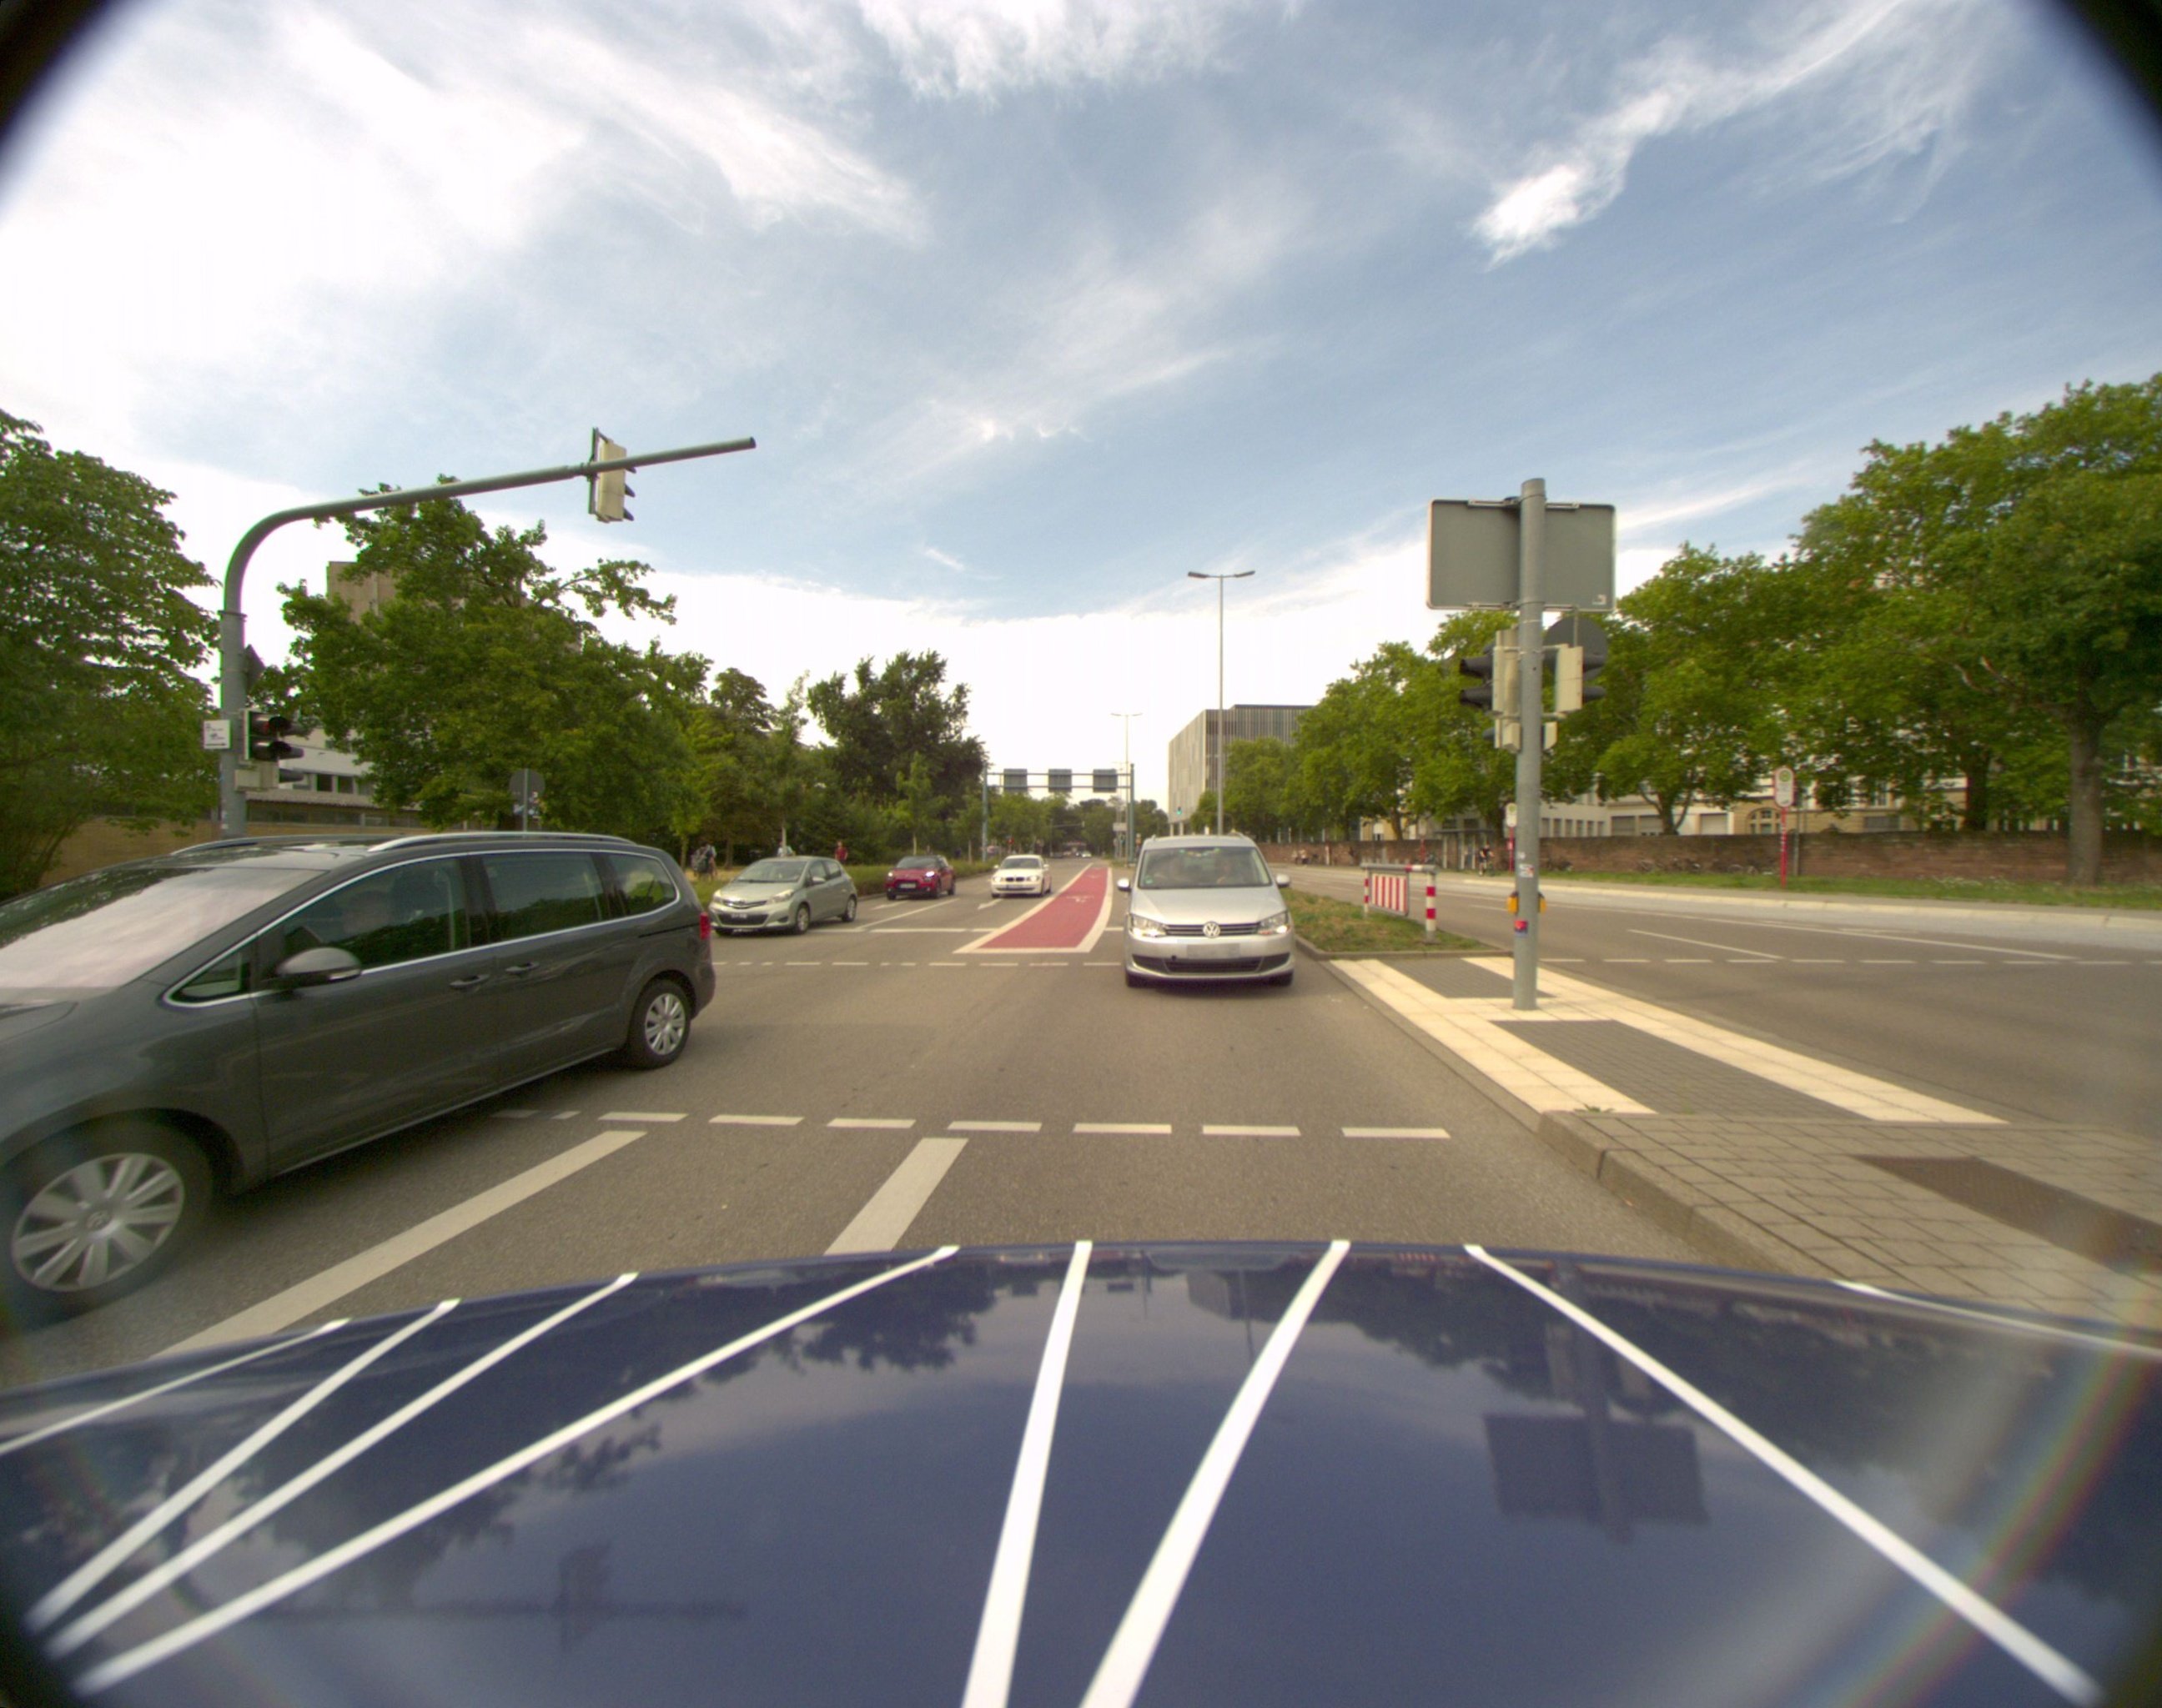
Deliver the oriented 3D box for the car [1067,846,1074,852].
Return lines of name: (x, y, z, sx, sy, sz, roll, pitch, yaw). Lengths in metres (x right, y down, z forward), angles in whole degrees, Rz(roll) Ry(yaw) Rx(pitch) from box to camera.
car: (-3.461, -1.639, 249.835, 1.998, 2.002, 3.999, -2, 1, 0)

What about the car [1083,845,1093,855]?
car: (1.483, -0.777, 161.968, 1.998, 2.002, 3.999, -2, 1, 0)

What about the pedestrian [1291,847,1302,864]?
pedestrian: (20.944, 0.142, 73.816, 0.754, 1.612, 0.665, -2, 2, -4)

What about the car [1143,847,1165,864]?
car: (6.939, 0.121, 72.694, 1.788, 1.481, 4.130, 2, 1, 2)

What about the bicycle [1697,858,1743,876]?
bicycle: (32.875, 0.655, 39.097, 0.359, 0.859, 1.888, 2, 0, -17)

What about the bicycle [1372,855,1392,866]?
bicycle: (24.943, 0.511, 63.065, 0.662, 0.882, 1.574, -4, 1, -18)

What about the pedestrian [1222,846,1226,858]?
pedestrian: (18.148, -0.227, 96.637, 0.402, 1.449, 0.473, -2, 2, -4)

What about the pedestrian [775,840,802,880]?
pedestrian: (-12.766, 0.263, 33.143, 0.842, 1.701, 0.695, -2, 2, -2)

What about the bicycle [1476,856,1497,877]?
bicycle: (20.319, 0.608, 38.094, 0.505, 0.931, 1.973, 0, 3, 16)

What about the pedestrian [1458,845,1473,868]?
pedestrian: (27.343, 0.147, 54.034, 0.569, 1.612, 0.753, -2, 2, -20)

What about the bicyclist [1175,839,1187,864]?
bicyclist: (7.085, -0.158, 53.789, 0.777, 1.701, 1.086, 2, 0, 5)

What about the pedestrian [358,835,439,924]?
pedestrian: (-13.630, 0.483, 15.206, 0.840, 1.701, 0.799, -2, 2, -13)

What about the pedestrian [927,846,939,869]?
pedestrian: (-11.408, 0.258, 58.447, 0.714, 1.701, 0.695, -2, 2, 2)

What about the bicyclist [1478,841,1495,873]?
bicyclist: (20.301, 0.152, 38.041, 0.579, 1.547, 0.798, 0, 3, 16)

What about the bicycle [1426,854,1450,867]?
bicycle: (26.627, 0.469, 56.657, 0.662, 0.882, 1.574, -4, 1, -18)

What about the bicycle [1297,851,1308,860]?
bicycle: (22.398, 0.170, 76.909, 0.433, 0.882, 1.575, -3, 1, -9)

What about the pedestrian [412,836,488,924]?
pedestrian: (-12.741, 0.509, 15.372, 0.840, 1.701, 0.799, -2, 2, -13)

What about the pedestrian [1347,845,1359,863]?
pedestrian: (24.086, -0.009, 67.279, 0.756, 1.612, 0.664, -3, 2, -39)

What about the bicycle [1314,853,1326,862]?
bicycle: (22.974, 0.339, 73.153, 0.433, 0.882, 1.575, -3, 1, -9)

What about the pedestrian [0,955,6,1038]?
pedestrian: (-10.295, 0.845, 6.548, 0.799, 1.701, 0.840, -2, 2, 7)

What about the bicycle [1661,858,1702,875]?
bicycle: (32.305, 0.643, 40.888, 0.359, 0.859, 1.807, 2, 0, -19)

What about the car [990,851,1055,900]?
car: (-1.958, 0.679, 26.533, 1.759, 1.450, 4.223, -2, 1, 2)

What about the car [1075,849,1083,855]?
car: (-0.579, -0.499, 213.971, 1.998, 1.565, 4.001, -2, 1, 6)

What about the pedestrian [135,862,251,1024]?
pedestrian: (-9.762, 0.960, 8.373, 0.480, 1.701, 0.588, -2, 2, 7)

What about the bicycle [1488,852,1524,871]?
bicycle: (28.439, 0.499, 50.906, 0.759, 1.182, 2.095, 2, 0, -20)

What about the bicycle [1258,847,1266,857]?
bicycle: (21.198, -0.263, 89.007, 0.513, 1.202, 1.396, -2, 1, 2)

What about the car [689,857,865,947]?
car: (-5.979, 0.868, 15.489, 1.669, 1.481, 3.876, -2, 1, 5)

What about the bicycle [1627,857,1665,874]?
bicycle: (31.670, 0.633, 42.616, 0.359, 0.859, 1.819, 2, 0, -21)

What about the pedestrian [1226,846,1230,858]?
pedestrian: (18.746, -0.241, 96.822, 0.402, 1.449, 0.473, -2, 2, -4)

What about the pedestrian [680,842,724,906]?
pedestrian: (-10.363, 0.541, 20.785, 0.734, 1.701, 0.693, -2, 2, 5)

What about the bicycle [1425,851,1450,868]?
bicycle: (25.885, 0.412, 55.153, 2.103, 1.182, 0.756, 2, 0, -38)

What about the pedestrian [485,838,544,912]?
pedestrian: (-13.389, 0.482, 17.982, 0.714, 1.701, 0.799, -2, 2, -2)

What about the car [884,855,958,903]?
car: (-5.408, 0.816, 26.080, 1.670, 1.407, 3.457, -2, 1, 2)

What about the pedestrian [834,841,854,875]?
pedestrian: (-12.022, 0.185, 38.590, 0.714, 1.701, 0.695, -2, 2, 2)

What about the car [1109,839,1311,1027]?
car: (1.464, 0.715, 9.362, 1.823, 1.724, 4.530, -2, 1, 7)

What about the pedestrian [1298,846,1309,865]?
pedestrian: (19.454, 0.122, 66.434, 0.754, 1.612, 0.665, -2, 2, -4)

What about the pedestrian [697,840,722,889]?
pedestrian: (-12.912, 0.362, 26.416, 0.544, 1.686, 0.695, 2, 1, -2)

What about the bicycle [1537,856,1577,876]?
bicycle: (29.595, 0.723, 47.265, 0.759, 1.182, 2.095, 2, 0, -20)

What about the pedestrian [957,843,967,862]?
pedestrian: (-10.770, -0.167, 68.640, 0.714, 1.701, 0.695, -2, 2, 2)

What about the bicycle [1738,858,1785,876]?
bicycle: (33.826, 0.646, 37.798, 0.359, 0.859, 1.705, 2, 0, -24)

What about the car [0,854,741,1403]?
car: (-4.068, 0.898, 4.143, 1.758, 1.641, 4.688, -2, 1, 8)
